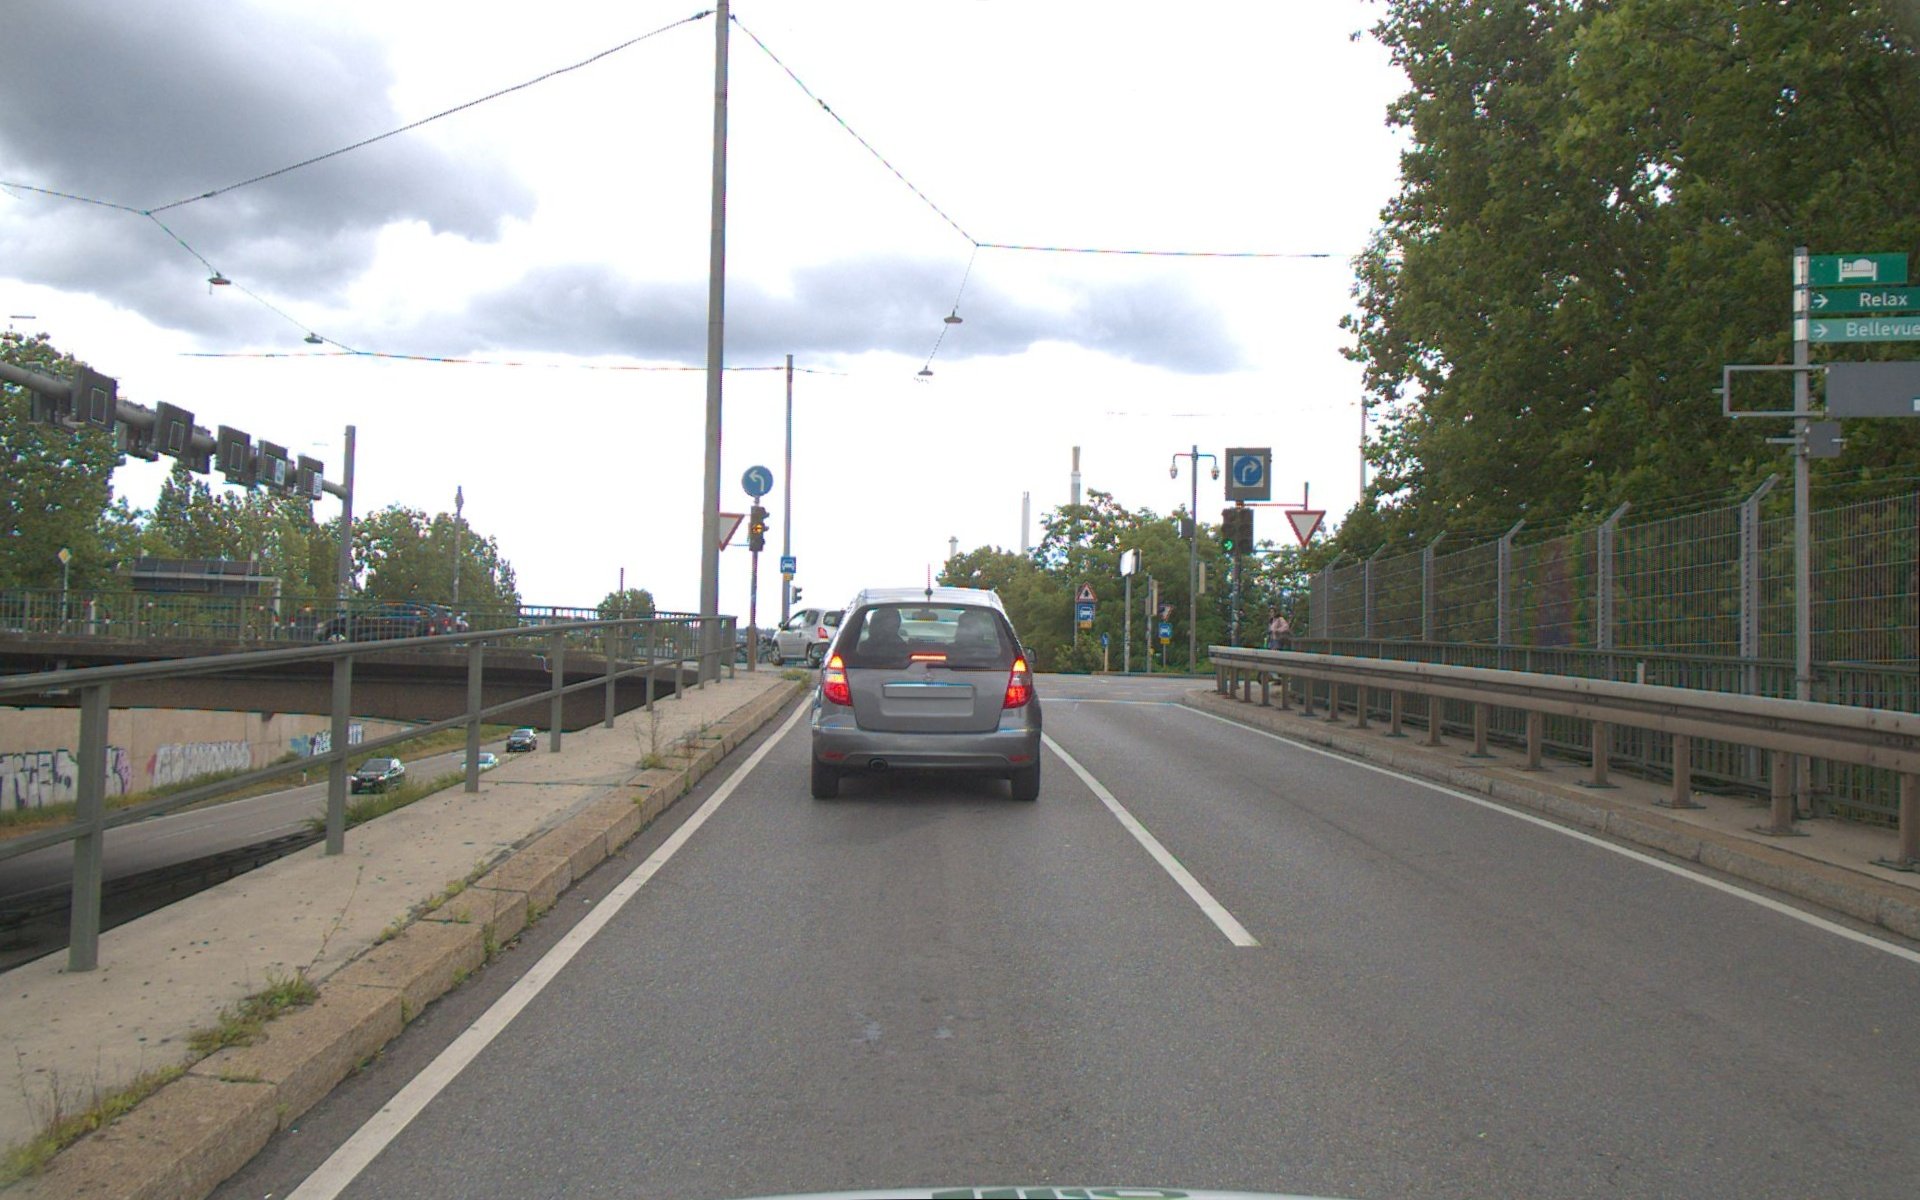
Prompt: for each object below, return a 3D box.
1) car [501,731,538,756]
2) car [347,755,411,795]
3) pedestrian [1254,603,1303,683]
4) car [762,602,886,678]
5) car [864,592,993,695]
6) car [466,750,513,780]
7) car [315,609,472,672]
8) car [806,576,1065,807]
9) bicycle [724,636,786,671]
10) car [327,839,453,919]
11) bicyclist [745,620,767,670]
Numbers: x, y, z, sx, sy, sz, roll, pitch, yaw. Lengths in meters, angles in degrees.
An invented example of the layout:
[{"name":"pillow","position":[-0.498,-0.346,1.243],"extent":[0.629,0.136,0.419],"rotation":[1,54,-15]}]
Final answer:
[{"name":"car","position":[-35.001,11.403,131.548],"extent":[1.892,1.874,4.407],"rotation":[0,-3,-2]},{"name":"car","position":[-30.216,9.093,86.132],"extent":[1.877,1.769,4.549],"rotation":[0,-3,-3]},{"name":"pedestrian","position":[6.959,0.949,36.167],"extent":[0.816,1.707,0.978],"rotation":[1,-3,-5]},{"name":"car","position":[-3.415,0.952,40.971],"extent":[1.905,1.747,3.971],"rotation":[1,0,-23]},{"name":"car","position":[-0.658,0.744,30.341],"extent":[1.895,1.747,4.398],"rotation":[1,0,-7]},{"name":"car","position":[-27.492,9.603,96.705],"extent":[1.694,1.555,4.084],"rotation":[1,-3,-2]},{"name":"car","position":[-16.388,1.167,48.030],"extent":[3.908,1.747,1.936],"rotation":[1,0,-4]},{"name":"car","position":[-0.166,0.641,13.741],"extent":[1.819,1.616,4.000],"rotation":[1,0,0]},{"name":"bicycle","position":[-6.996,1.821,56.478],"extent":[1.997,1.144,0.926],"rotation":[1,0,-13]},{"name":"car","position":[-14.112,6.887,41.176],"extent":[1.707,1.477,4.164],"rotation":[0,-3,-1]},{"name":"bicyclist","position":[-6.982,1.530,56.494],"extent":[0.641,1.703,0.867],"rotation":[1,0,-12]}]
